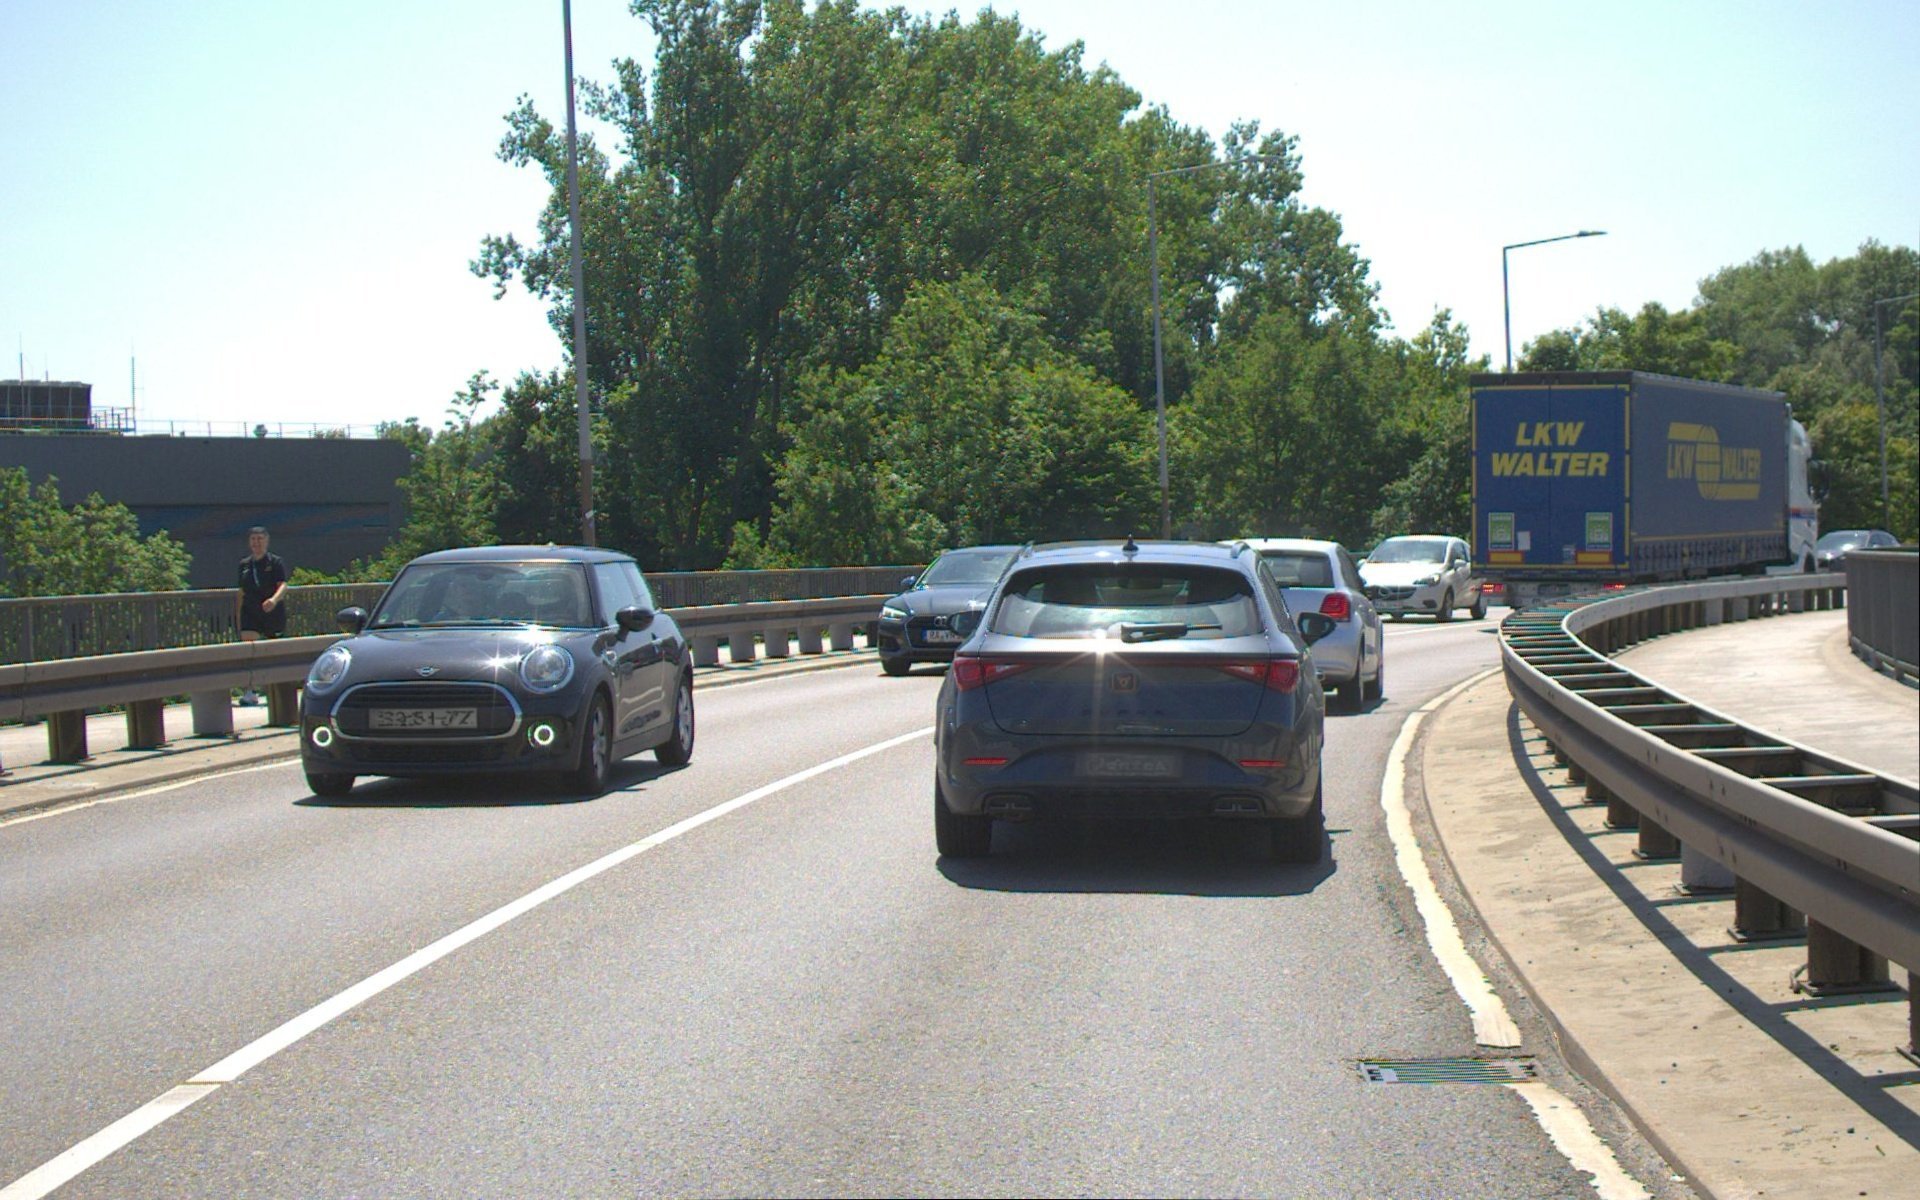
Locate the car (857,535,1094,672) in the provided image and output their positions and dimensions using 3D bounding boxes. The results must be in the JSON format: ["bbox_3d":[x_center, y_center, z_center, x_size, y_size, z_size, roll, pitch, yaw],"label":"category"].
[{"bbox_3d":[0.245,0.014,38.559,1.790,1.410,4.573,-1,0,11],"label":"car"}]

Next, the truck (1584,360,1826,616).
[{"bbox_3d":[14.258,-2.049,65.344,3.174,4.569,7.388,1,1,23],"label":"truck"}]

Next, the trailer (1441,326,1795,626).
[{"bbox_3d":[11.604,-1.997,59.187,3.138,4.598,12.932,1,1,24],"label":"trailer"}]

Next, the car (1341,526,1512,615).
[{"bbox_3d":[8.135,-0.528,59.674,1.727,1.478,3.860,-1,1,27],"label":"car"}]

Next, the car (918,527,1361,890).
[{"bbox_3d":[0.750,0.412,16.225,1.845,1.493,3.758,0,2,0],"label":"car"}]

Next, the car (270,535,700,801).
[{"bbox_3d":[-2.758,0.358,20.785,1.789,1.414,3.773,-2,0,4],"label":"car"}]

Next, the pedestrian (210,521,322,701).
[{"bbox_3d":[-6.123,0.096,30.371,0.715,1.556,0.694,-2,0,11],"label":"pedestrian"}]

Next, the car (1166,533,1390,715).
[{"bbox_3d":[2.808,0.169,29.792,1.594,1.456,3.543,1,1,11],"label":"car"}]
